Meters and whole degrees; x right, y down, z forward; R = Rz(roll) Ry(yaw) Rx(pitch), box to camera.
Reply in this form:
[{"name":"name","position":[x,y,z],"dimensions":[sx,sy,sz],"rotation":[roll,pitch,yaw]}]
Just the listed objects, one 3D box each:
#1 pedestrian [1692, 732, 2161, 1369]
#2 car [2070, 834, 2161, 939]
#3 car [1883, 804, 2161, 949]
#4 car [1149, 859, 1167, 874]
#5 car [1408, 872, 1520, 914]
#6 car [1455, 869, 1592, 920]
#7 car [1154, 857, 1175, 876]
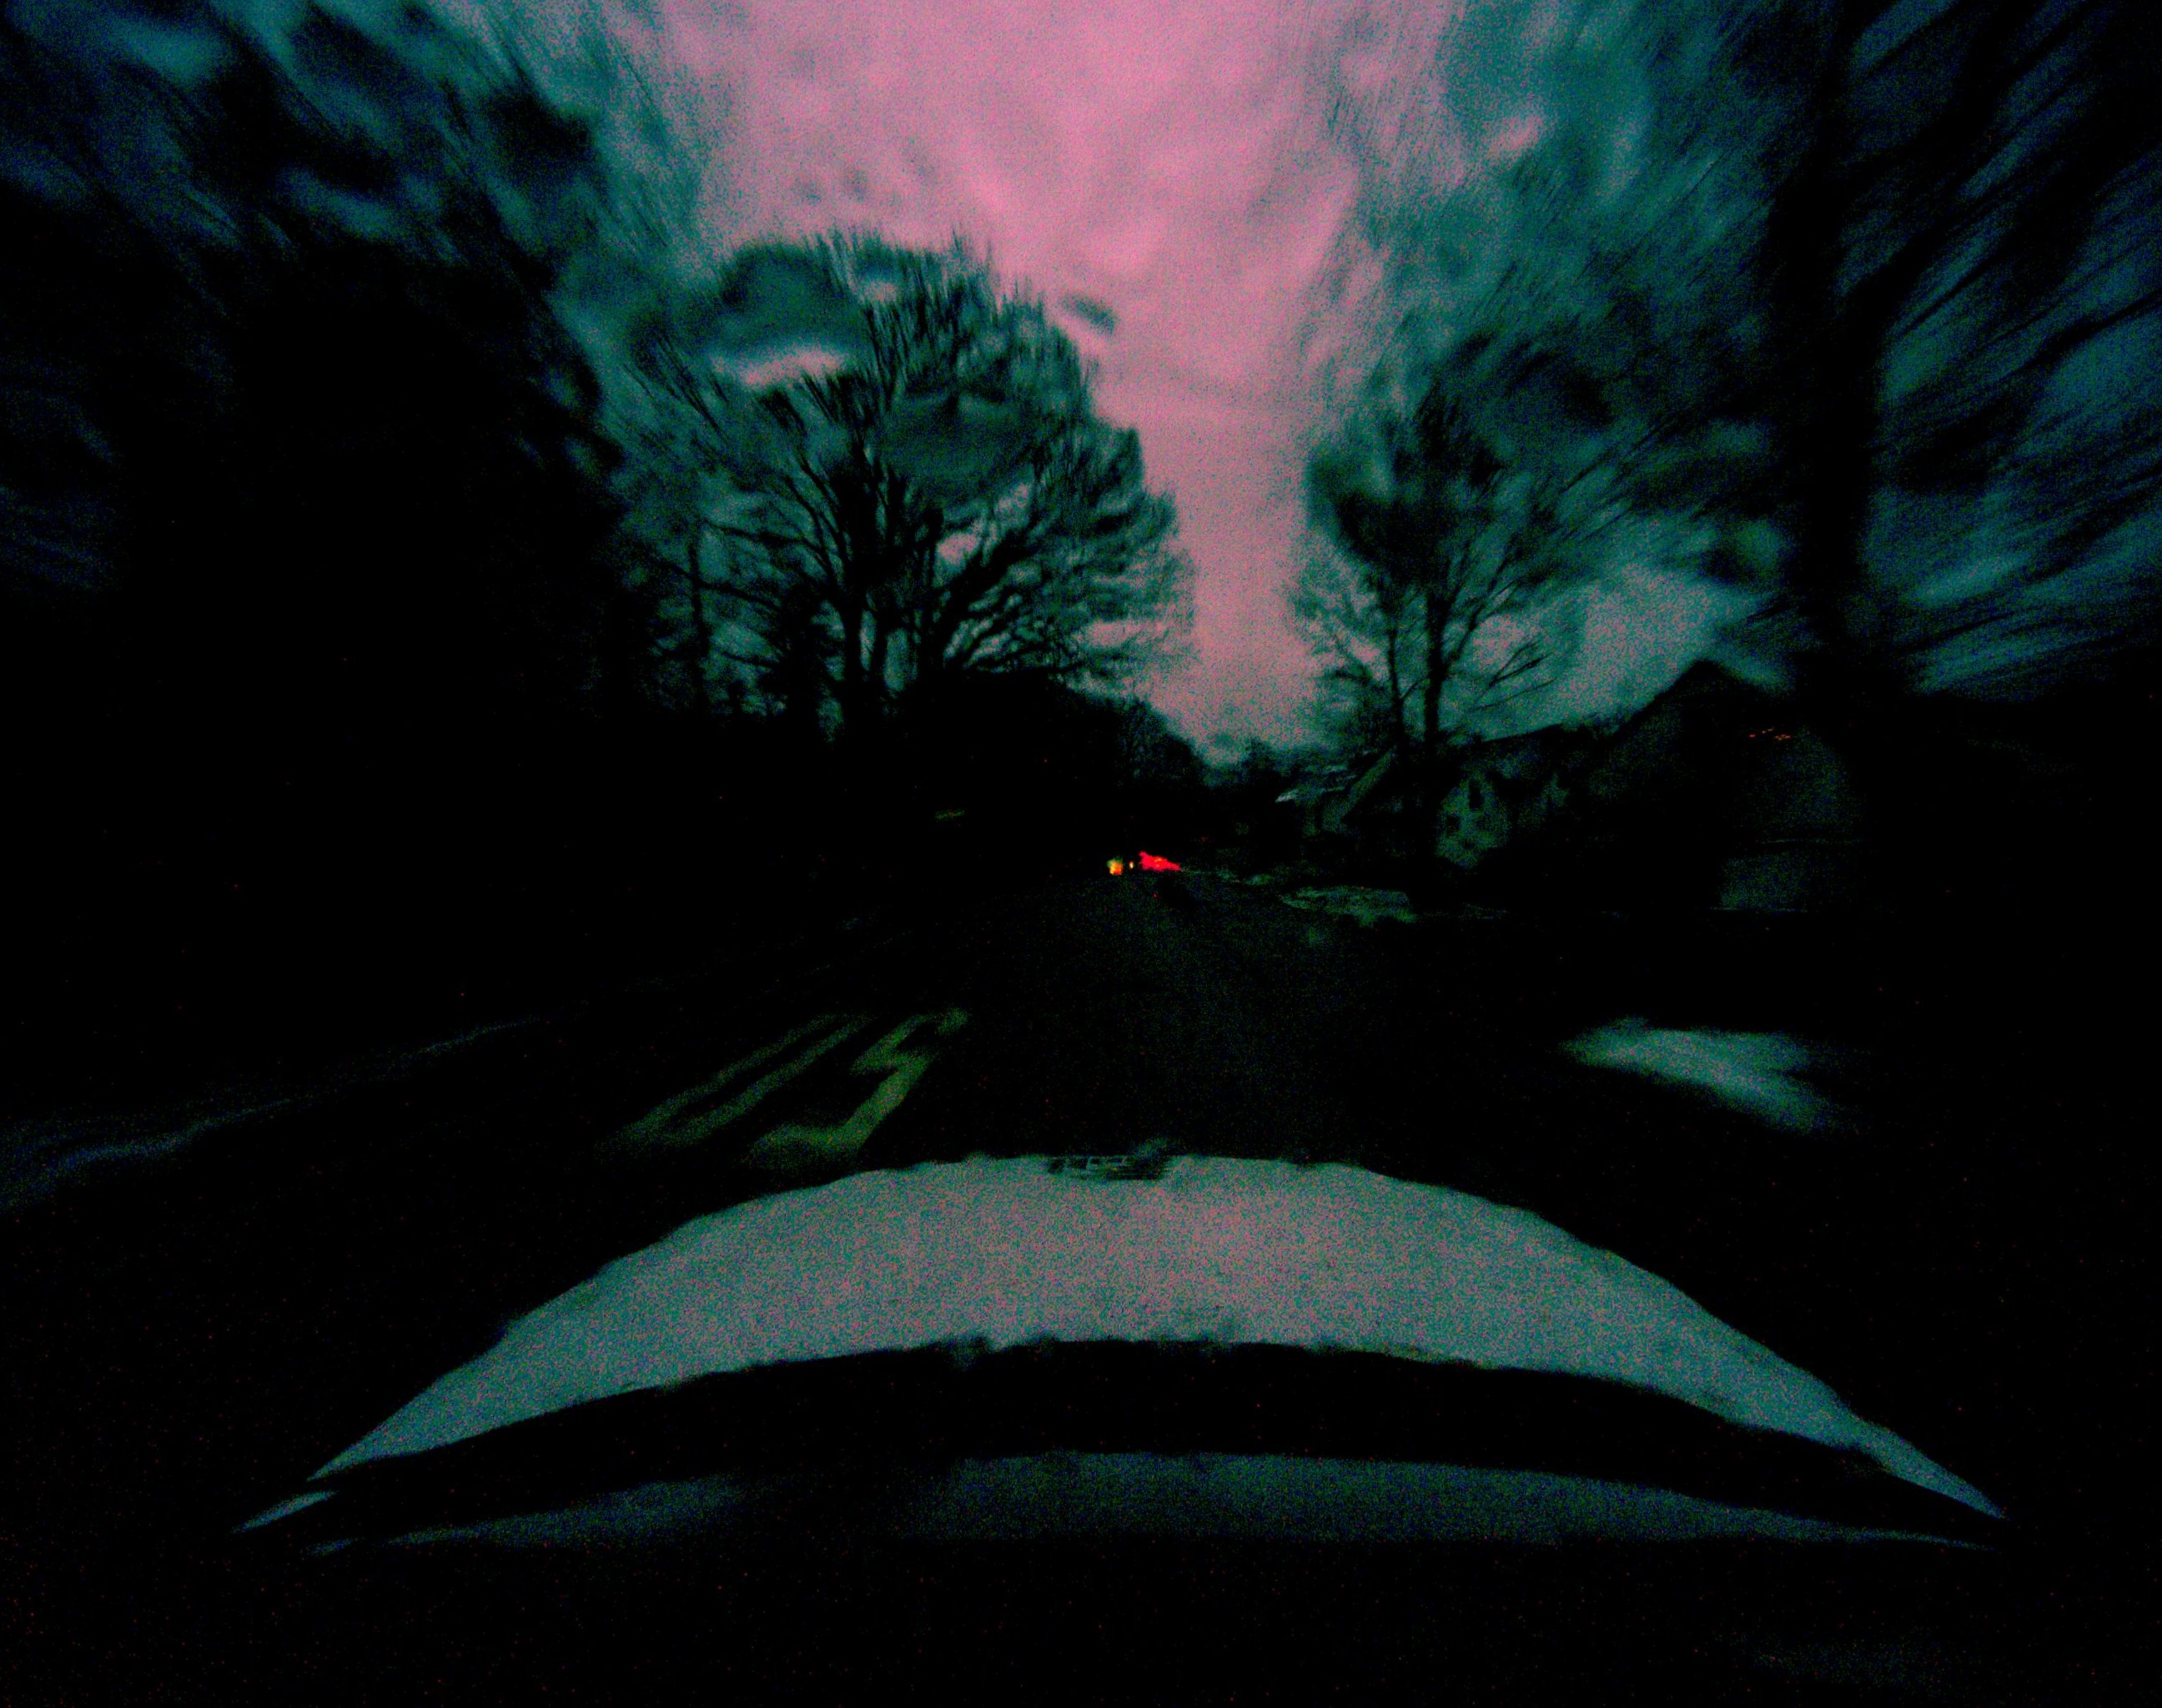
[{"name":"pedestrian","position":[2.706,0.510,2.615],"dimensions":[0.741,1.655,0.970],"rotation":[-1,0,0]},{"name":"car","position":[16.032,0.379,10.638],"dimensions":[1.632,1.473,3.739],"rotation":[-1,-4,2]},{"name":"car","position":[13.403,0.358,10.887],"dimensions":[1.632,1.683,3.739],"rotation":[-1,-4,2]},{"name":"car","position":[8.888,1.447,93.448],"dimensions":[1.923,1.676,4.008],"rotation":[-1,0,7]},{"name":"car","position":[15.679,1.585,33.447],"dimensions":[3.771,1.597,1.803],"rotation":[-1,0,-1]},{"name":"car","position":[15.174,1.363,28.073],"dimensions":[3.771,1.597,1.803],"rotation":[-1,0,-1]},{"name":"car","position":[8.231,1.227,80.362],"dimensions":[1.922,1.781,4.009],"rotation":[-1,0,8]}]
